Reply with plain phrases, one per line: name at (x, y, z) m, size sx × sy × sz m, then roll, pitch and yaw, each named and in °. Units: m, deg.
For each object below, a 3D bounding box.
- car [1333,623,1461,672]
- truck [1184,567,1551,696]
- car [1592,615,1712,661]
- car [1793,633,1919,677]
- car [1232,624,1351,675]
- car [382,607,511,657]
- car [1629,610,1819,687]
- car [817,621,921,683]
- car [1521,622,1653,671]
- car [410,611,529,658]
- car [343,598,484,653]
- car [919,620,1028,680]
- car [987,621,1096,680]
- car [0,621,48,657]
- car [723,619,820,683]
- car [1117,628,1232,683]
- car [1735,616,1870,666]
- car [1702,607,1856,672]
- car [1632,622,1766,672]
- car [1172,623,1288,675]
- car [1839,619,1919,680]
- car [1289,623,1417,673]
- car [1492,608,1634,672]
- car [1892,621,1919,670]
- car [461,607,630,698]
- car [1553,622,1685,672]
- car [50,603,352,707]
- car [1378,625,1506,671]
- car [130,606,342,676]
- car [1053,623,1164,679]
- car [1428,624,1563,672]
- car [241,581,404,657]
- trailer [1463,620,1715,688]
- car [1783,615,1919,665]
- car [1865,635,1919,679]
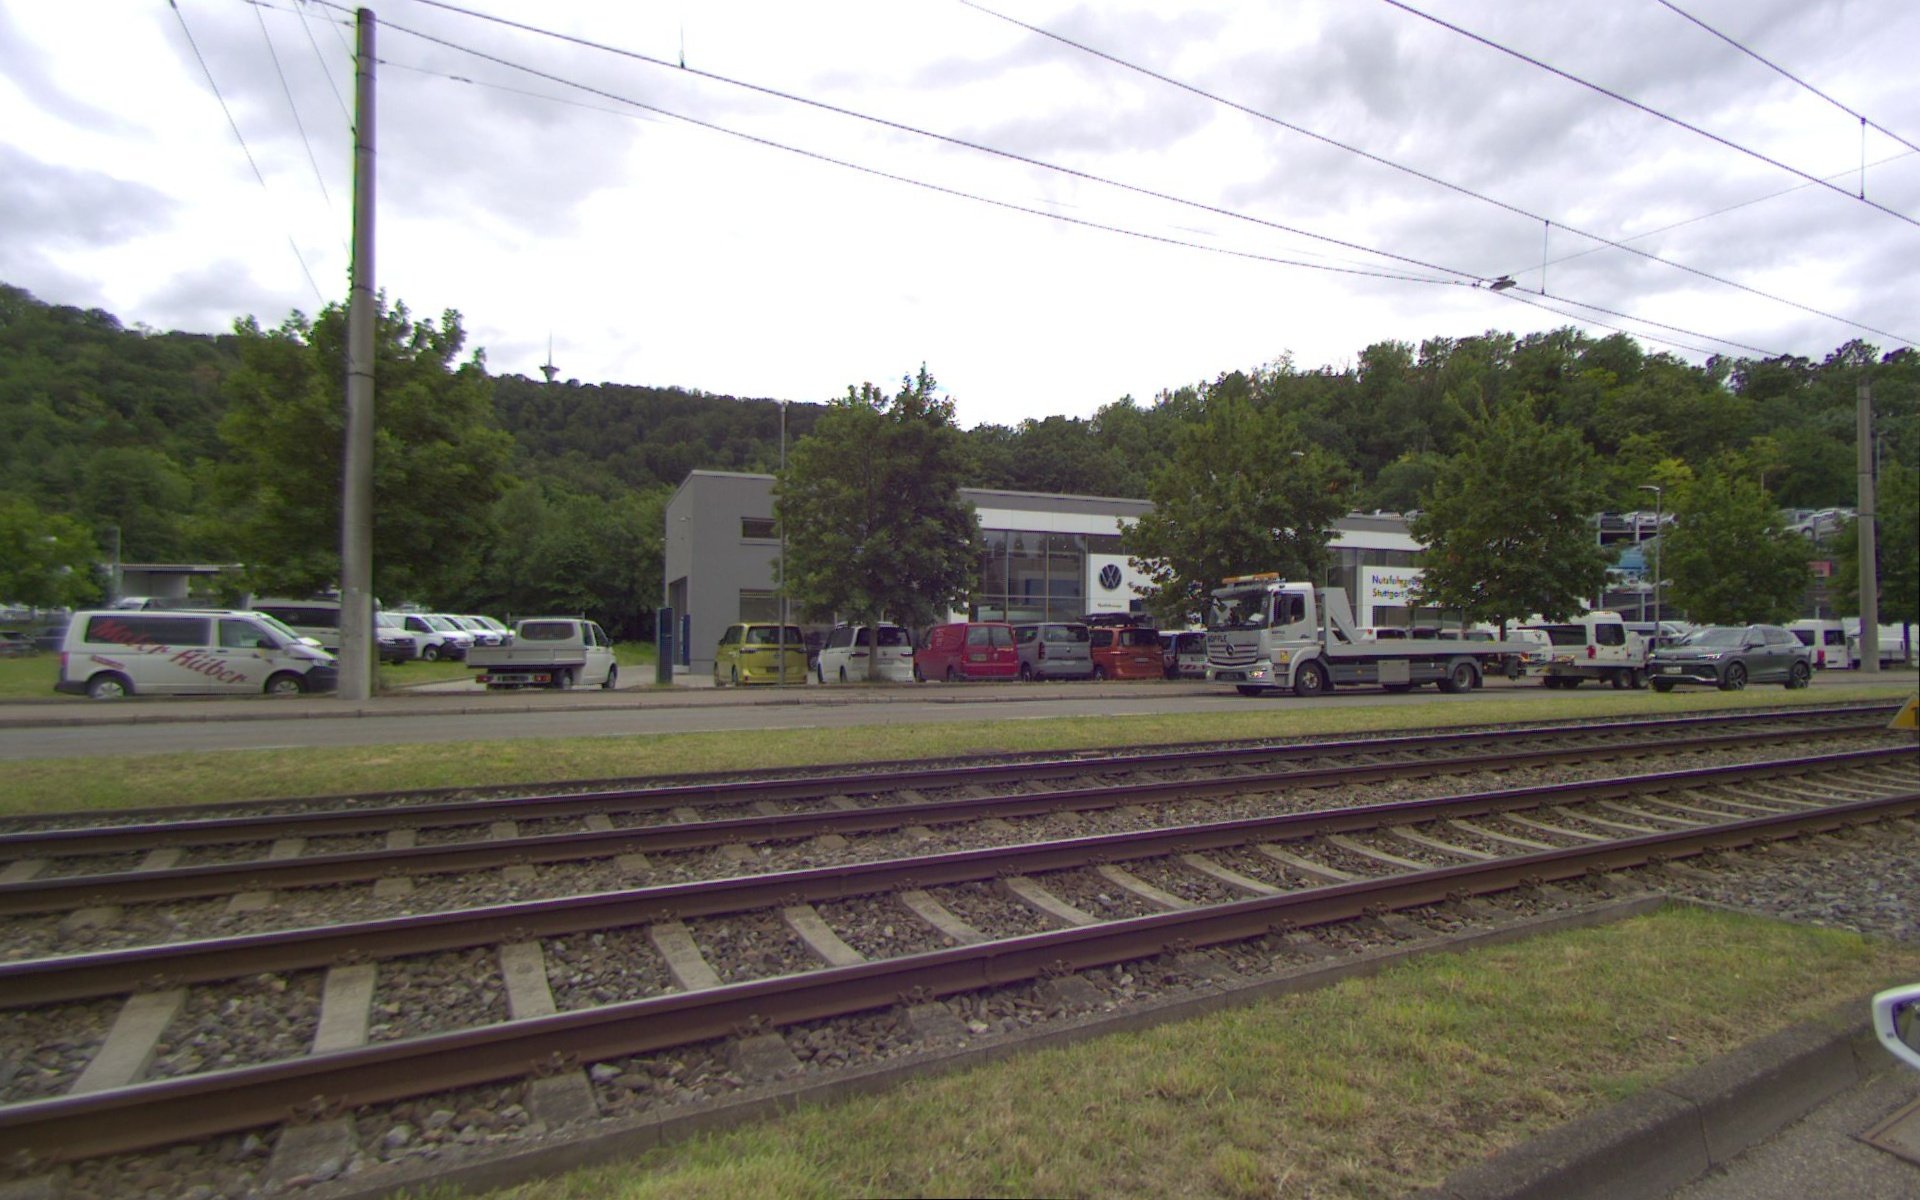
car at (16.174, 1.713, 37.438) m, size 1.973 × 1.708 × 4.362 m, roll 1°, pitch -1°, yaw -19°
truck at (10.087, 0.822, 24.675) m, size 9.088 × 2.777 × 2.751 m, roll 1°, pitch -3°, yaw -23°
car at (42.347, 2.283, 61.553) m, size 5.866 × 2.636 × 1.994 m, roll -1°, pitch -1°, yaw 41°
car at (43.293, 2.608, 48.468) m, size 1.976 × 1.936 × 4.355 m, roll 1°, pitch -1°, yaw -23°
car at (11.421, 1.664, 34.901) m, size 1.968 × 1.639 × 3.984 m, roll 1°, pitch -1°, yaw -18°
car at (-23.138, 1.453, 45.402) m, size 4.763 × 2.156 × 2.001 m, roll 1°, pitch -1°, yaw 2°
car at (19.091, 1.247, 25.097) m, size 4.475 × 1.762 × 1.987 m, roll 2°, pitch -4°, yaw -27°
car at (-2.736, 1.452, 29.246) m, size 2.086 × 1.639 × 4.342 m, roll 1°, pitch -1°, yaw -18°
car at (25.457, 1.847, 40.968) m, size 1.973 × 1.869 × 4.362 m, roll 1°, pitch -1°, yaw -19°
car at (-23.733, 1.650, 48.757) m, size 4.763 × 2.156 × 2.001 m, roll 1°, pitch -1°, yaw 2°
car at (-22.742, 1.071, 41.932) m, size 4.763 × 2.156 × 2.001 m, roll 1°, pitch -1°, yaw 2°
car at (0.304, 1.432, 29.983) m, size 2.030 × 1.639 × 4.175 m, roll 1°, pitch -1°, yaw -18°
car at (2.449, 1.521, 31.320) m, size 2.015 × 1.686 × 3.984 m, roll 1°, pitch -1°, yaw -18°
car at (-40.737, 1.611, 41.841) m, size 3.656 × 1.455 × 1.671 m, roll 1°, pitch -1°, yaw -18°
car at (-5.355, 1.352, 28.105) m, size 2.120 × 1.639 × 4.334 m, roll 1°, pitch -1°, yaw -18°
car at (6.972, 1.772, 33.058) m, size 1.968 × 1.639 × 3.984 m, roll 1°, pitch -1°, yaw -18°
car at (38.596, 1.837, 46.129) m, size 1.976 × 2.201 × 4.355 m, roll 1°, pitch -1°, yaw -23°
car at (36.358, 1.701, 44.758) m, size 2.085 × 2.734 × 4.954 m, roll 1°, pitch -1°, yaw -23°
car at (32.214, 2.011, 43.933) m, size 1.976 × 2.037 × 4.355 m, roll 1°, pitch -1°, yaw -23°
car at (9.067, 1.615, 34.072) m, size 1.968 × 1.639 × 3.984 m, roll 1°, pitch -1°, yaw -18°
car at (45.675, 2.371, 48.577) m, size 1.976 × 2.856 × 4.355 m, roll 1°, pitch -1°, yaw -23°
car at (14.039, 1.682, 36.144) m, size 1.972 × 1.639 × 4.363 m, roll 1°, pitch -1°, yaw -18°
car at (23.429, 1.511, 39.254) m, size 2.092 × 2.342 × 4.493 m, roll 1°, pitch -1°, yaw -19°
car at (52.550, 2.402, 52.347) m, size 2.212 × 2.636 × 5.467 m, roll 1°, pitch -1°, yaw -19°
car at (-10.336, 1.280, 25.627) m, size 2.102 × 2.034 × 5.714 m, roll 0°, pitch -2°, yaw -2°
car at (27.392, 1.911, 41.914) m, size 1.973 × 1.973 × 4.362 m, roll 1°, pitch -1°, yaw -19°
car at (-16.051, 1.145, 21.632) m, size 4.796 × 2.040 × 1.987 m, roll 1°, pitch -1°, yaw -26°
car at (18.325, 1.778, 38.401) m, size 1.973 × 1.639 × 4.362 m, roll 1°, pitch -1°, yaw -19°
car at (-22.563, 1.267, 31.454) m, size 5.035 × 2.040 × 1.999 m, roll 1°, pitch -1°, yaw -3°
car at (4.659, 1.571, 32.117) m, size 1.968 × 1.639 × 3.984 m, roll 1°, pitch -1°, yaw -18°
car at (20.623, 1.809, 38.888) m, size 2.002 × 1.711 × 4.356 m, roll 1°, pitch -1°, yaw -23°
car at (-23.925, 0.729, 37.844) m, size 4.765 × 2.741 × 2.000 m, roll 1°, pitch -1°, yaw -1°
trailer at (17.386, 1.488, 27.716) m, size 6.848 × 1.720 × 2.378 m, roll 1°, pitch -3°, yaw -23°
car at (41.122, 1.821, 46.439) m, size 1.976 × 2.201 × 4.355 m, roll 1°, pitch -1°, yaw -23°
car at (47.606, 2.797, 49.286) m, size 1.976 × 2.133 × 4.355 m, roll 1°, pitch -1°, yaw -23°
